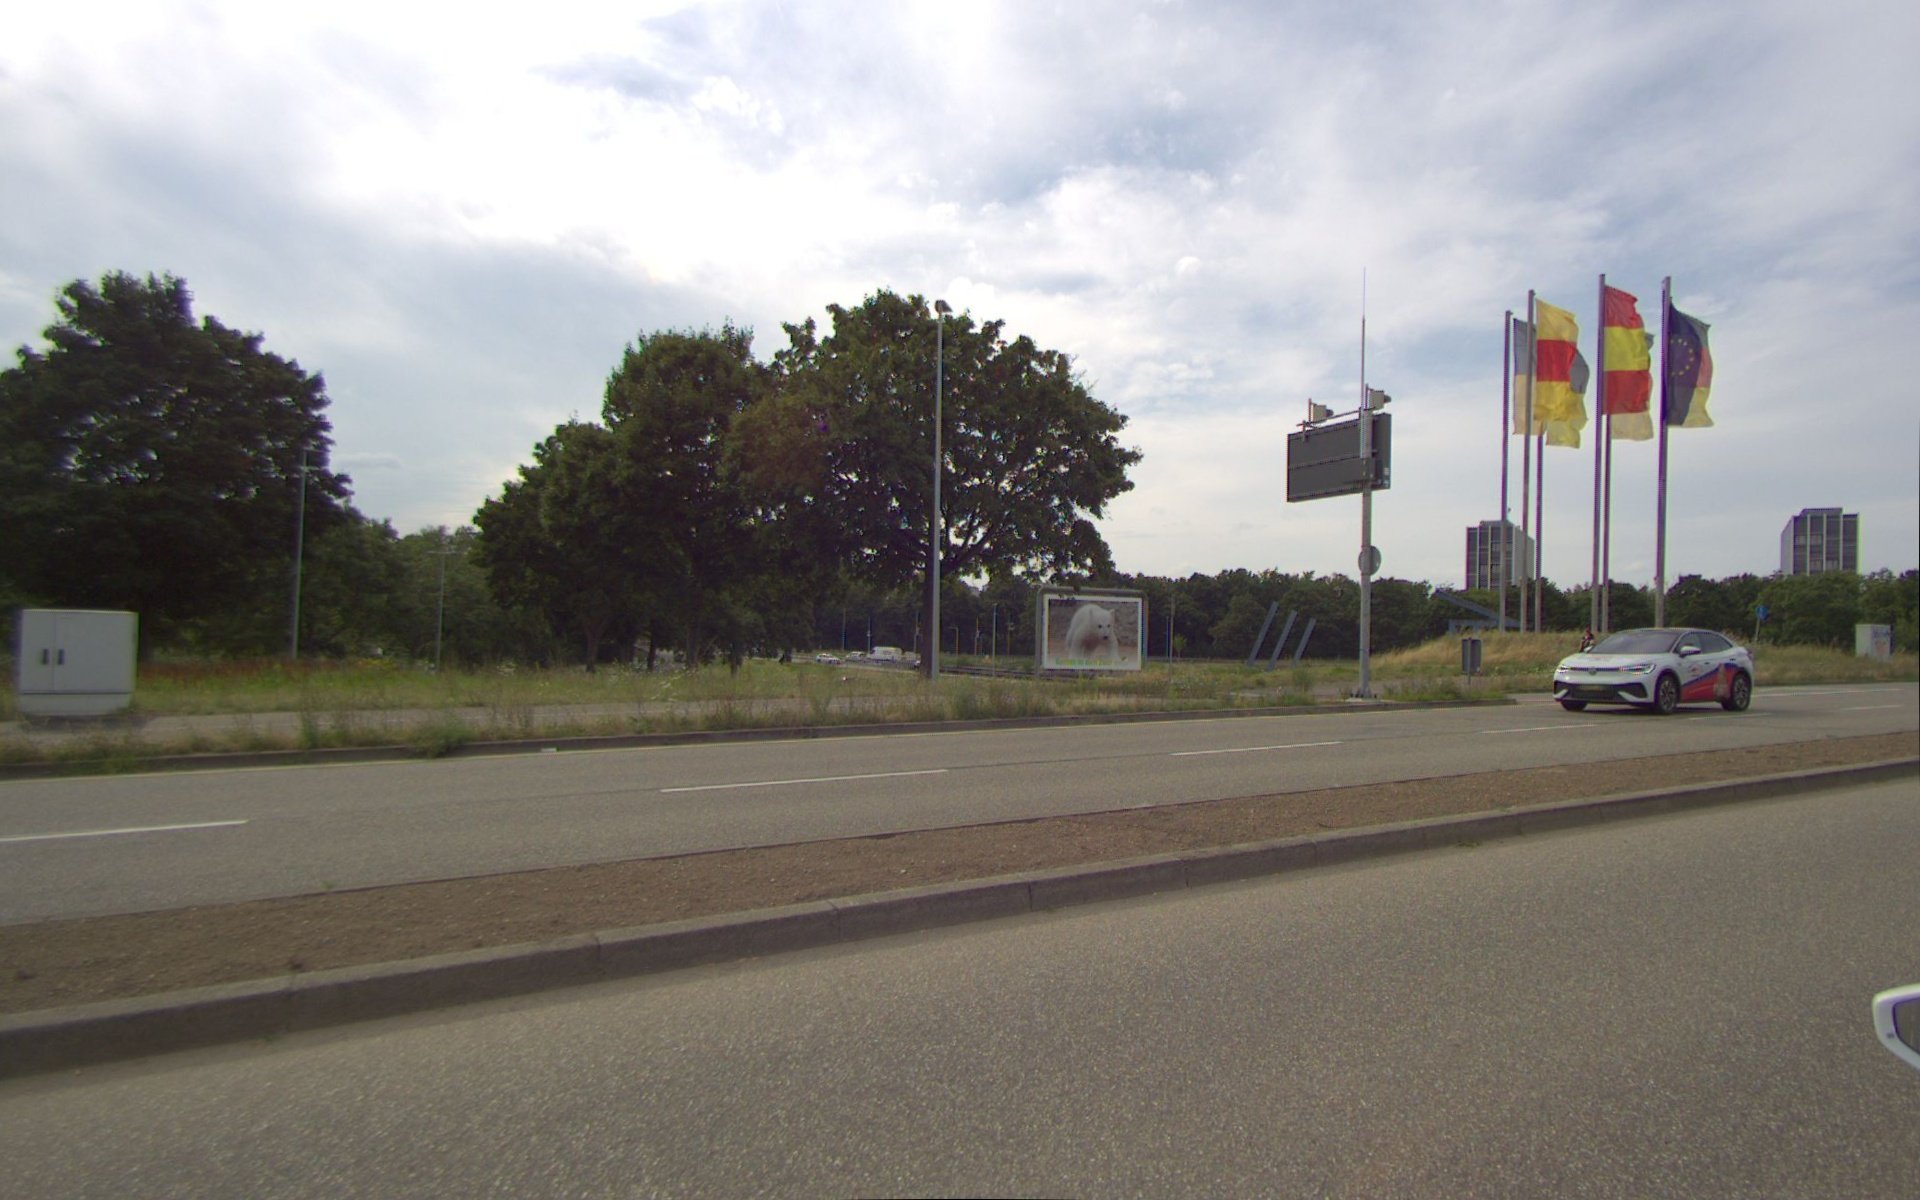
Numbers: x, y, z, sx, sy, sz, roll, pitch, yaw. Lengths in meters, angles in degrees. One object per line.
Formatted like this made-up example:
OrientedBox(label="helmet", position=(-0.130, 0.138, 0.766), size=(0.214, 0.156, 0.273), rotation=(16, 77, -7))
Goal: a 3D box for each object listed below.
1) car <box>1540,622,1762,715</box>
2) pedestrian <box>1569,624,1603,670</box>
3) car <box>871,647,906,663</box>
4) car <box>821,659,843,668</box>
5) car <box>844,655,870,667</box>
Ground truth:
OrientedBox(label="car", position=(13.613, 1.257, 19.747), size=(4.506, 1.622, 1.839), rotation=(0, -1, -30))
OrientedBox(label="pedestrian", position=(23.640, 1.767, 37.913), size=(0.671, 1.715, 0.861), rotation=(1, -2, -30))
OrientedBox(label="car", position=(-11.378, 8.648, 159.007), size=(5.766, 2.411, 1.981), rotation=(-1, -2, 41))
OrientedBox(label="car", position=(-19.043, 9.396, 149.301), size=(3.305, 1.237, 1.255), rotation=(-1, -2, 41))
OrientedBox(label="car", position=(-16.234, 9.553, 158.025), size=(3.941, 1.773, 1.794), rotation=(-1, -3, 41))
